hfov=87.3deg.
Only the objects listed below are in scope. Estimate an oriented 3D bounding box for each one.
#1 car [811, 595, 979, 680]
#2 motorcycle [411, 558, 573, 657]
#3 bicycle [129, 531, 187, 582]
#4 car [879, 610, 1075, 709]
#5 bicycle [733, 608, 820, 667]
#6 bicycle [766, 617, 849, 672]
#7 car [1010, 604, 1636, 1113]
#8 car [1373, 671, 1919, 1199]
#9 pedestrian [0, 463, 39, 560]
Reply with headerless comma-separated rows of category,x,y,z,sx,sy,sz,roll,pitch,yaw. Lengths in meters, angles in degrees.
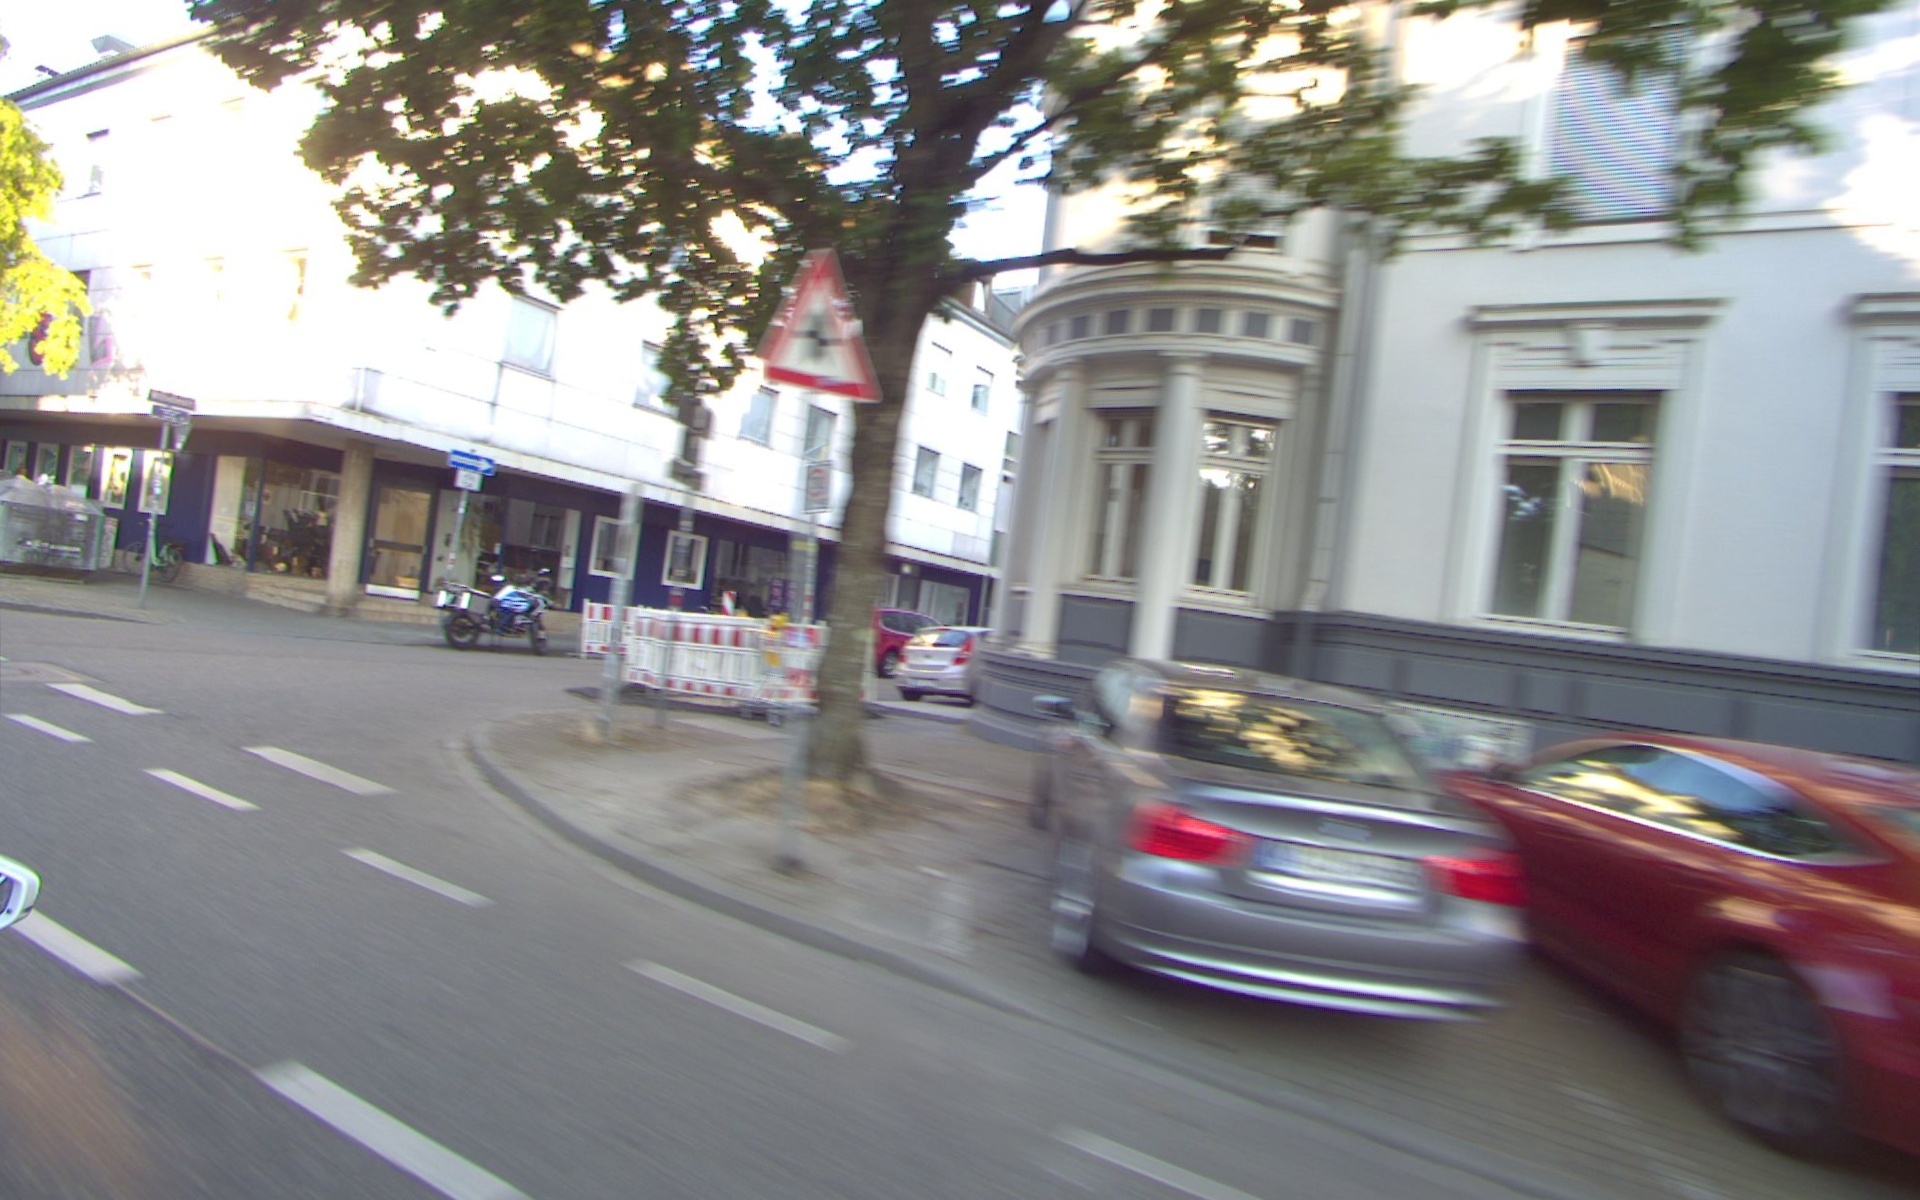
car,-1.582,1.020,26.023,1.826,1.688,4.349,7,-1,37
motorcycle,-8.114,0.152,17.520,1.270,1.421,2.093,6,-2,35
bicycle,-16.231,-0.889,20.357,1.303,0.894,0.341,7,3,26
car,0.433,1.201,19.345,1.824,1.509,3.890,7,-1,34
bicycle,-4.162,0.835,22.711,2.066,1.069,0.590,6,-1,37
bicycle,-3.586,1.037,23.661,1.838,1.069,0.526,6,-1,25
car,1.423,0.955,5.946,1.828,1.532,4.604,8,1,0
car,3.943,1.348,4.856,1.951,1.463,4.405,7,1,0
pedestrian,-20.634,-1.929,21.803,0.772,2.011,0.692,7,2,28
